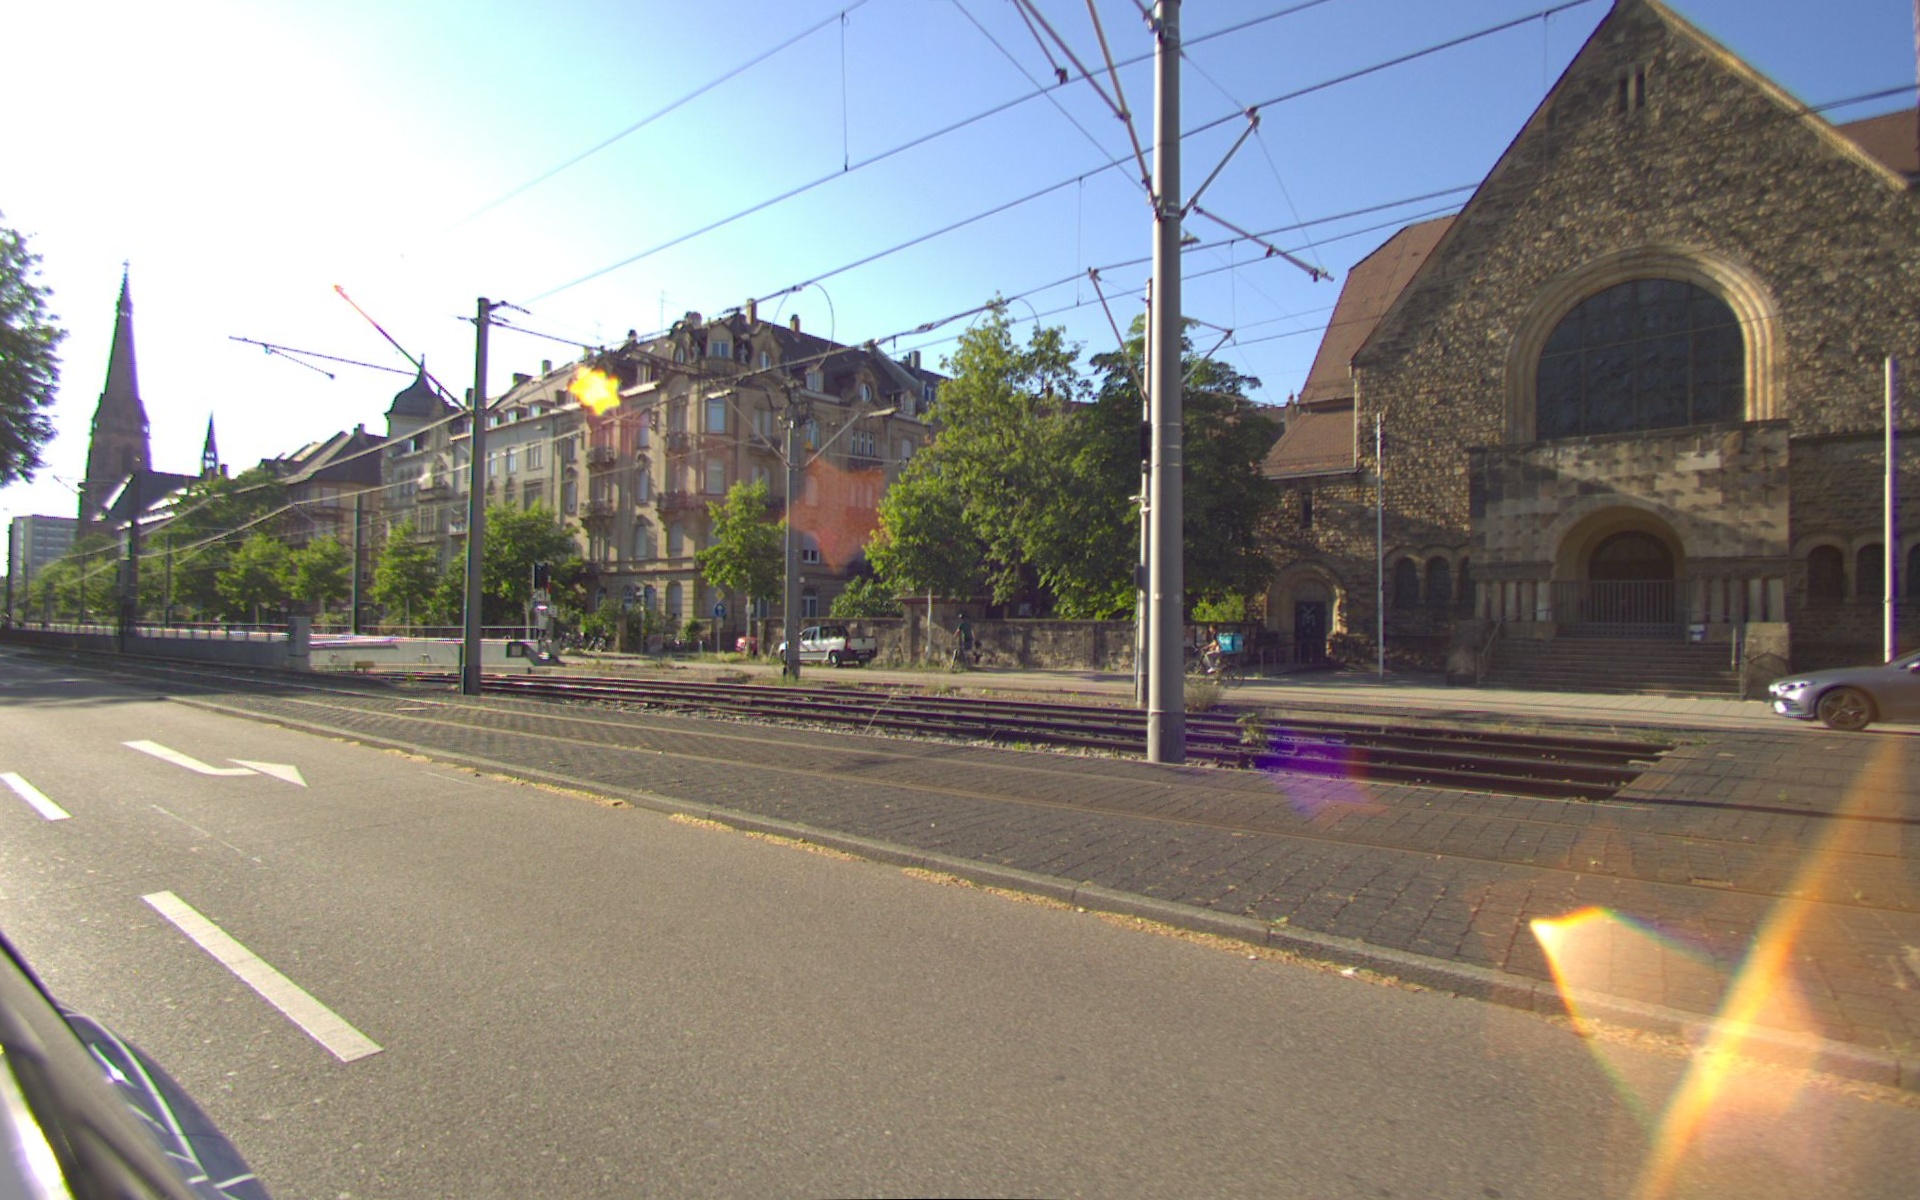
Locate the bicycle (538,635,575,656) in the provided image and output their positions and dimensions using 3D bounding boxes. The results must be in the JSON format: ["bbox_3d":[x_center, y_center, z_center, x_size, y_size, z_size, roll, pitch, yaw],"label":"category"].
[{"bbox_3d":[-20.709,2.334,51.933,1.877,1.030,0.484,-1,0,17],"label":"bicycle"}]

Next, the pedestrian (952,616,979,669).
[{"bbox_3d":[0.202,1.531,36.928,0.757,1.902,0.598,-1,0,43],"label":"pedestrian"}]

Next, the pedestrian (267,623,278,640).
[{"bbox_3d":[-68.273,3.117,100.485,0.710,1.701,0.865,-1,0,-44],"label":"pedestrian"}]

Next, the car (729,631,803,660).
[{"bbox_3d":[-11.101,2.597,58.059,1.817,1.581,3.947,-1,-3,39],"label":"car"}]

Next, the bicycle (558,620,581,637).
[{"bbox_3d":[-24.846,1.786,64.363,2.112,1.026,0.499,-1,0,45],"label":"bicycle"}]

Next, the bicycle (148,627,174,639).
[{"bbox_3d":[-84.400,3.480,106.905,0.551,1.107,2.368,-1,0,10],"label":"bicycle"}]

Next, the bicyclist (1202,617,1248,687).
[{"bbox_3d":[6.739,1.323,25.733,0.624,1.736,0.916,5,-4,-43],"label":"bicyclist"}]

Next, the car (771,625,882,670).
[{"bbox_3d":[-5.131,1.758,38.612,4.509,1.567,1.697,-1,0,43],"label":"car"}]

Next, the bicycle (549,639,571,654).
[{"bbox_3d":[-23.017,2.646,58.192,1.888,0.806,0.412,-1,0,44],"label":"bicycle"}]

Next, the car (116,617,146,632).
[{"bbox_3d":[-94.174,2.794,114.962,3.995,1.597,1.815,-1,0,39],"label":"car"}]

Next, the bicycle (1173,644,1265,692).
[{"bbox_3d":[6.593,1.730,25.858,0.624,1.153,2.281,5,-4,-42],"label":"bicycle"}]

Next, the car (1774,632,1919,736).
[{"bbox_3d":[14.919,1.214,14.623,4.838,1.460,1.973,-1,-2,41],"label":"car"}]

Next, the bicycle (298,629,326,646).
[{"bbox_3d":[-48.674,2.813,76.034,1.710,1.289,0.600,2,-2,-44],"label":"bicycle"}]
